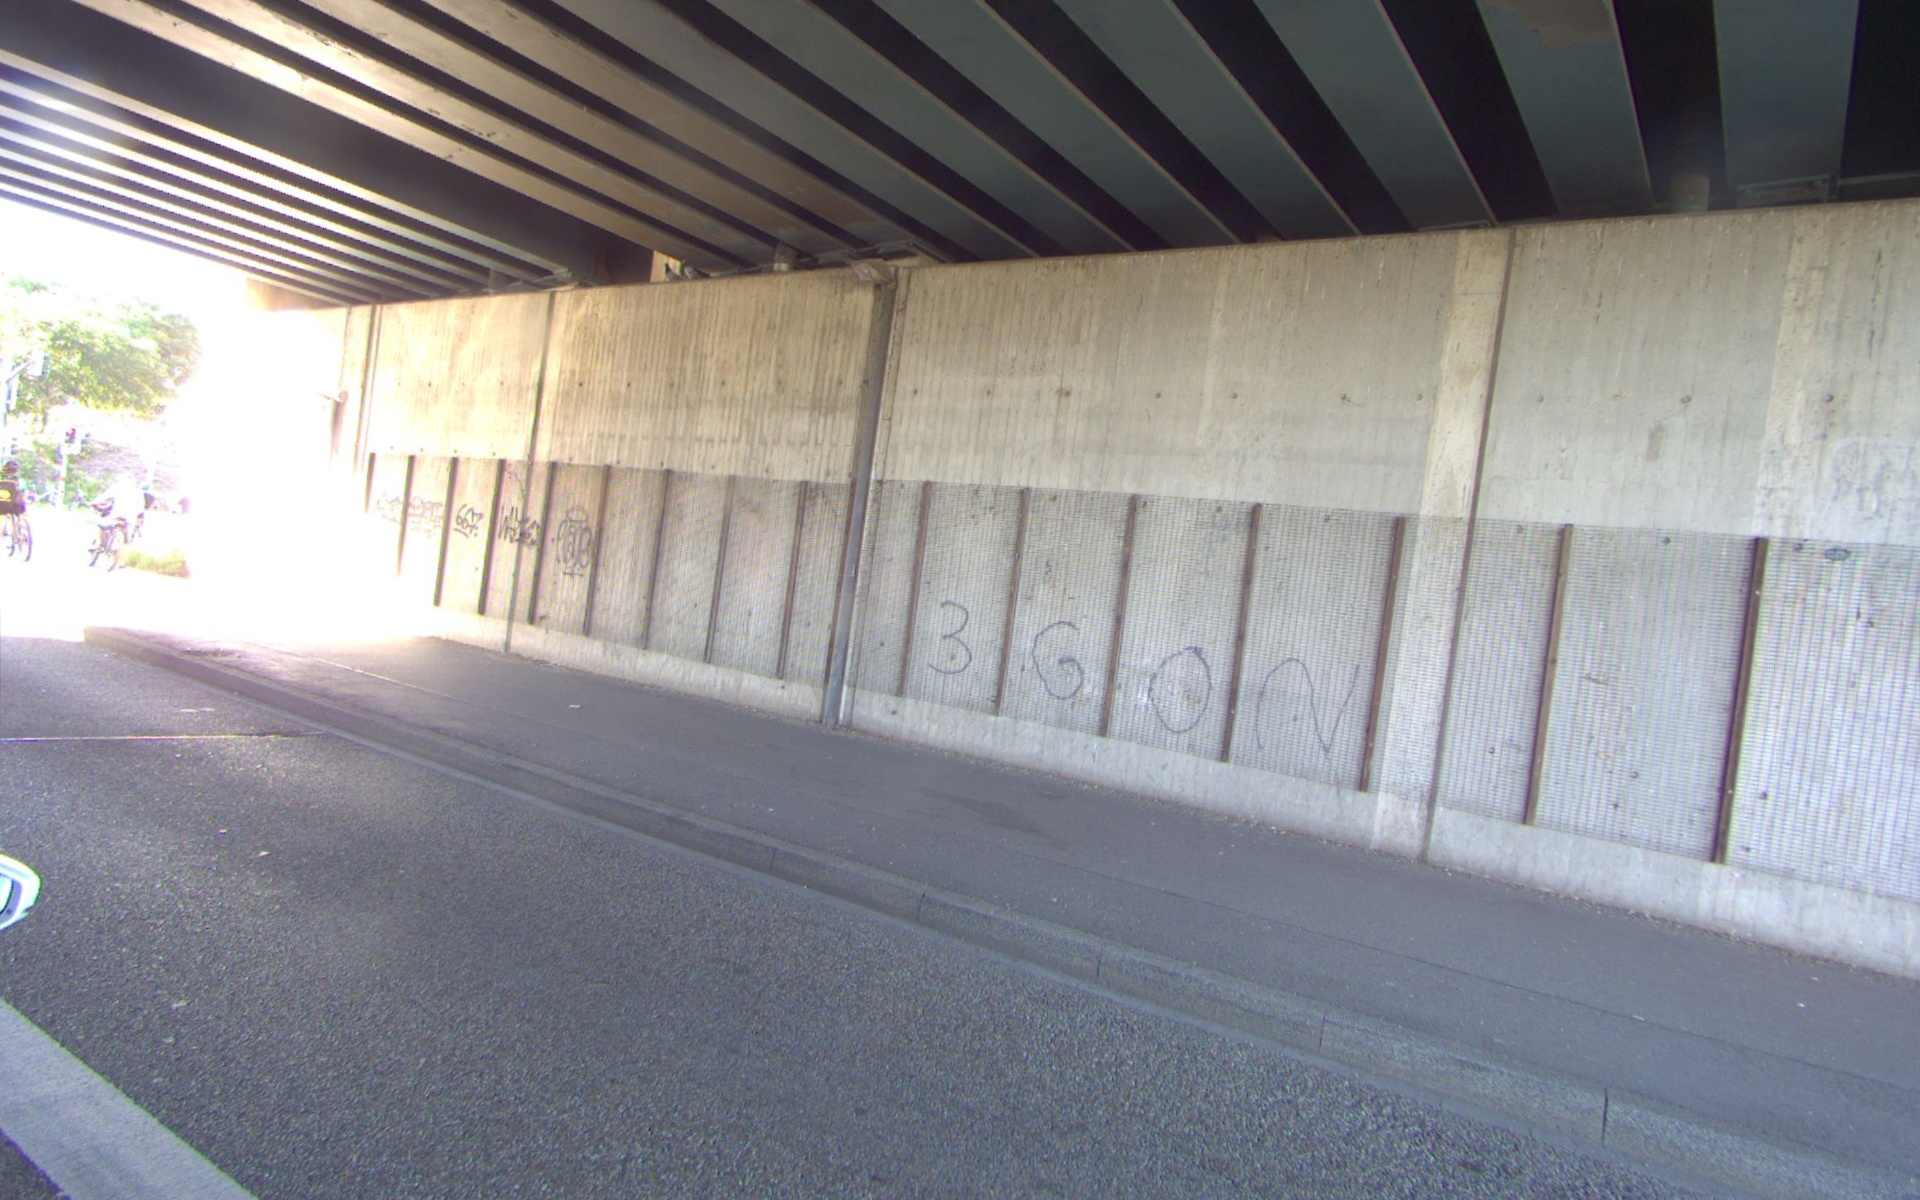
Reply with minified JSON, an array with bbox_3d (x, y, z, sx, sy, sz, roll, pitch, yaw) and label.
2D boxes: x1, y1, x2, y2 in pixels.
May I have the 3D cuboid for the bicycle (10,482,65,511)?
[{"bbox_3d":[-42.888,-4.792,46.781,0.585,1.035,1.744,6,-2,40],"label":"bicycle"}]

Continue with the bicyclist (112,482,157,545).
[{"bbox_3d":[-21.322,-2.228,25.995,0.741,1.491,0.664,6,-1,42],"label":"bicyclist"}]

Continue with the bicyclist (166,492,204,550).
[{"bbox_3d":[-21.548,-2.201,27.963,0.647,1.499,0.611,8,0,-42],"label":"bicyclist"}]

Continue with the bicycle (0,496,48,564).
[{"bbox_3d":[-16.207,-1.222,17.031,1.721,1.035,0.593,6,-1,32],"label":"bicycle"}]

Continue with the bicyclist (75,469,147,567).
[{"bbox_3d":[-14.699,-1.421,17.416,0.756,1.566,0.593,6,-1,32],"label":"bicyclist"}]

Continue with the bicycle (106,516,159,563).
[{"bbox_3d":[-21.378,-1.572,25.965,2.027,1.035,0.671,6,-2,42],"label":"bicycle"}]

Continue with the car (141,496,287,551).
[{"bbox_3d":[-31.386,-3.198,42.420,1.801,1.531,4.548,6,-3,39],"label":"car"}]

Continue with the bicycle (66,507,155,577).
[{"bbox_3d":[-14.728,-1.010,17.431,1.721,1.035,0.593,6,-1,32],"label":"bicycle"}]

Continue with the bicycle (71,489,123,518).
[{"bbox_3d":[-41.077,-4.589,47.897,0.586,1.035,1.743,6,-2,43],"label":"bicycle"}]

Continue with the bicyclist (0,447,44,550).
[{"bbox_3d":[-16.180,-1.729,17.042,0.927,1.632,0.593,6,-1,32],"label":"bicyclist"}]
